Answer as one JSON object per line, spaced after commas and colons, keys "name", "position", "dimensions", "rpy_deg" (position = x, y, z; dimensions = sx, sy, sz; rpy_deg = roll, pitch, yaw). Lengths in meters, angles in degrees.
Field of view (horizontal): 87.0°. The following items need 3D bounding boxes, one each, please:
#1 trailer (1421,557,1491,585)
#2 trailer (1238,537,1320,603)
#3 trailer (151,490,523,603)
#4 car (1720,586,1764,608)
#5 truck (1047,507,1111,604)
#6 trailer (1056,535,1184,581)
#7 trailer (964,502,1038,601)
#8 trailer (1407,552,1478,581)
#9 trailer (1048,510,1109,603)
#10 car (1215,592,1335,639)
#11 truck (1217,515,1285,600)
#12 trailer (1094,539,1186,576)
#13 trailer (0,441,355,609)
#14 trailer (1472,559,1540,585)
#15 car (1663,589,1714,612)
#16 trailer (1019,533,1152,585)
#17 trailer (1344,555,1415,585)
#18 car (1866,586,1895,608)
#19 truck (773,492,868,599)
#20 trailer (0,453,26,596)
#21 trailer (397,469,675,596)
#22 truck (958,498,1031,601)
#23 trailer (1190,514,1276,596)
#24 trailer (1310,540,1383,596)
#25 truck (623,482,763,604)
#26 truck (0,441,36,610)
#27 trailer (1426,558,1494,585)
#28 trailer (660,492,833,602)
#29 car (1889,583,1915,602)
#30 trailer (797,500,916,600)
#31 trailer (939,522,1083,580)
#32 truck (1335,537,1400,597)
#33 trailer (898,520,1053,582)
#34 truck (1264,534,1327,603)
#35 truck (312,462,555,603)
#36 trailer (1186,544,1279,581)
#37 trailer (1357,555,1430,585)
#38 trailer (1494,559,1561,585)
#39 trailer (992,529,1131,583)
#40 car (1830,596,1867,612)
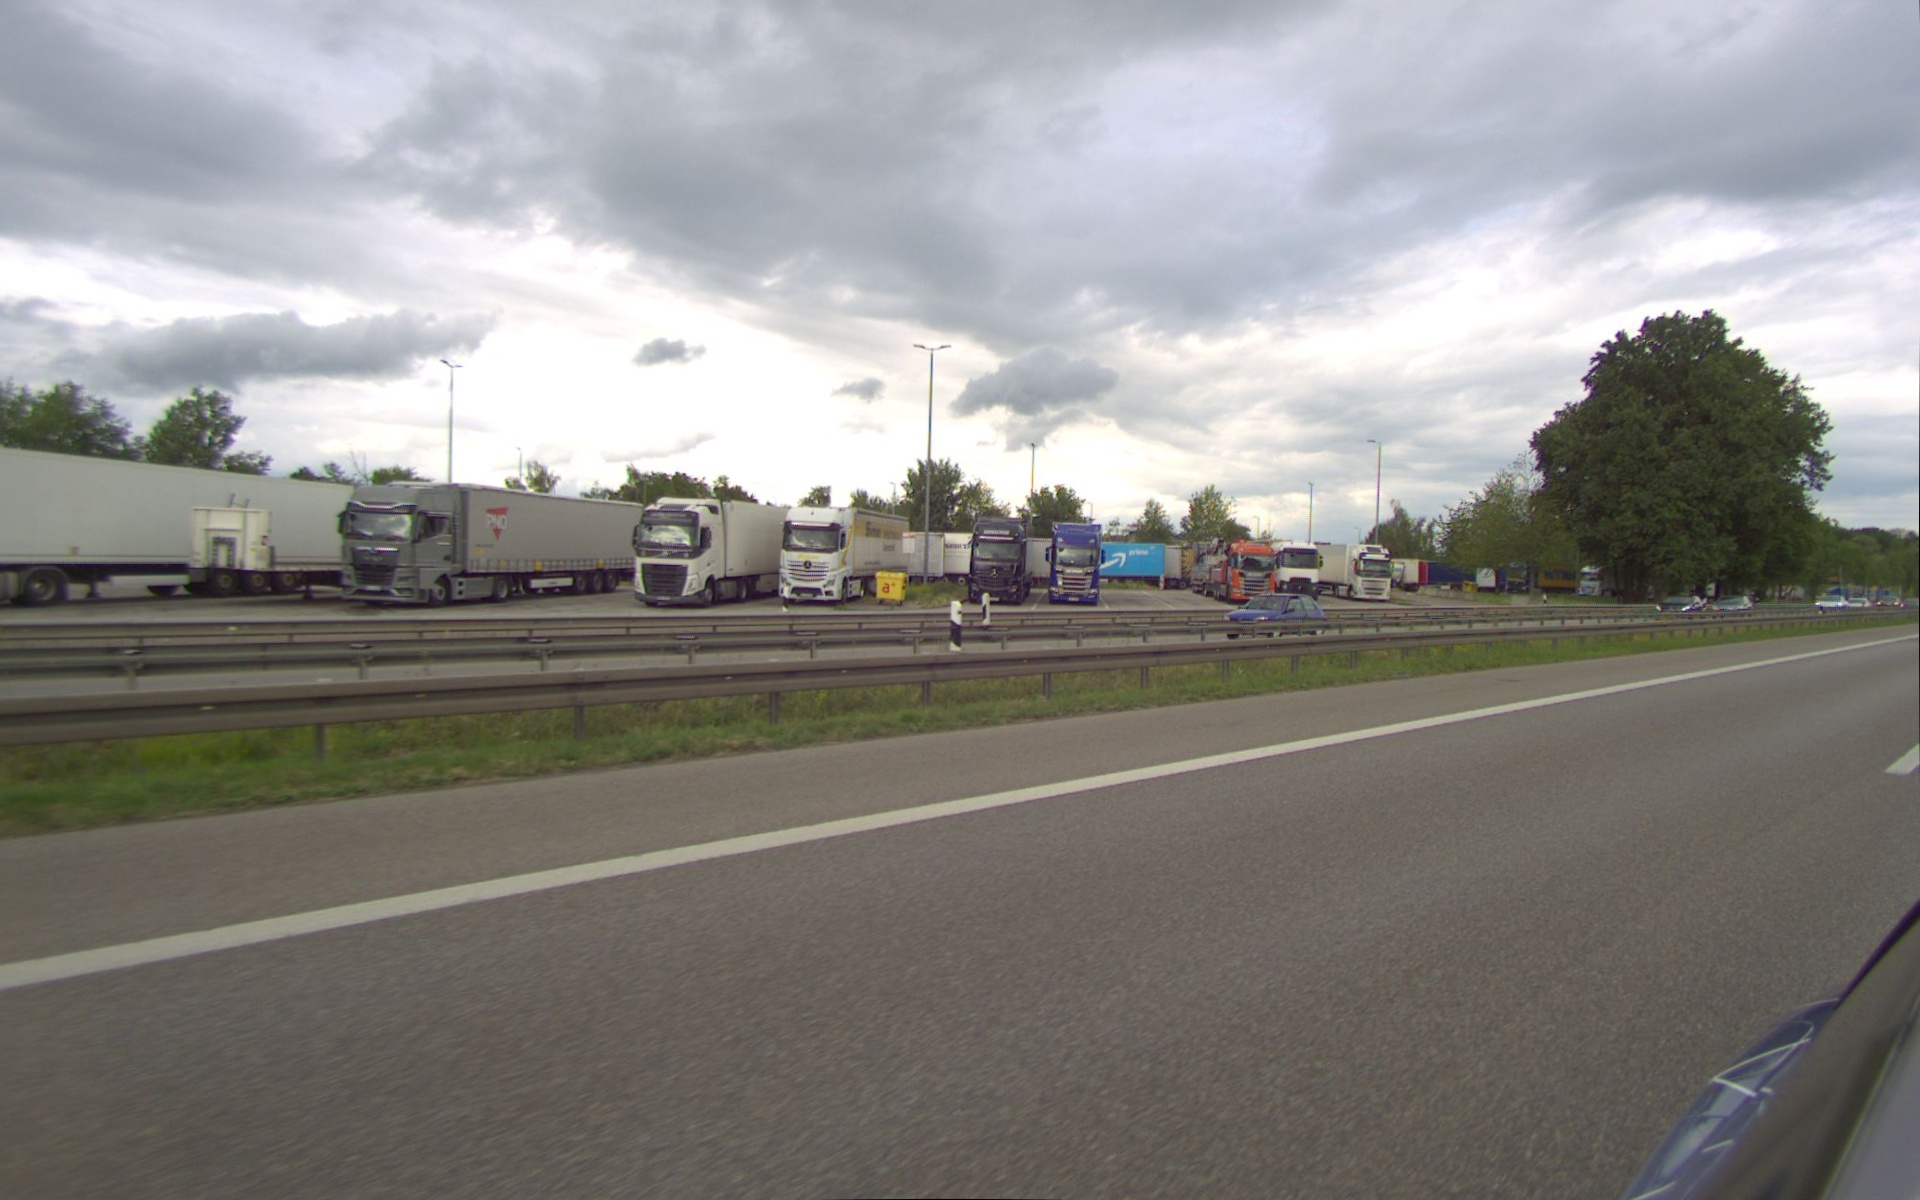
{"name": "trailer", "position": [63.928, -3.693, 130.559], "dimensions": [7.452, 3.502, 2.919], "rpy_deg": [0, 0, 4]}
{"name": "trailer", "position": [22.016, -1.974, 70.799], "dimensions": [2.617, 4.165, 14.047], "rpy_deg": [0, 1, 6]}
{"name": "trailer", "position": [-20.652, -1.575, 35.512], "dimensions": [3.533, 3.150, 13.726], "rpy_deg": [0, 1, 6]}
{"name": "car", "position": [49.195, -0.196, 63.610], "dimensions": [3.930, 1.322, 1.412], "rpy_deg": [0, 2, -41]}
{"name": "truck", "position": [5.956, -2.145, 51.278], "dimensions": [3.007, 4.614, 6.077], "rpy_deg": [0, 0, 6]}
{"name": "trailer", "position": [13.766, -3.618, 87.835], "dimensions": [10.599, 3.871, 2.921], "rpy_deg": [0, 0, 2]}
{"name": "trailer", "position": [2.408, -2.353, 54.290], "dimensions": [3.109, 4.649, 12.390], "rpy_deg": [0, 0, 6]}
{"name": "trailer", "position": [60.506, -4.154, 127.081], "dimensions": [7.452, 3.502, 2.919], "rpy_deg": [0, 0, 4]}
{"name": "trailer", "position": [6.544, -2.223, 57.208], "dimensions": [3.010, 4.637, 13.637], "rpy_deg": [0, 0, 6]}
{"name": "car", "position": [9.212, 0.420, 29.469], "dimensions": [3.484, 1.274, 1.795], "rpy_deg": [-1, 1, -41]}
{"name": "truck", "position": [16.930, -2.398, 59.182], "dimensions": [2.827, 4.682, 5.165], "rpy_deg": [0, 0, 5]}
{"name": "trailer", "position": [16.244, -3.811, 91.558], "dimensions": [7.891, 3.286, 2.919], "rpy_deg": [0, 0, 5]}
{"name": "trailer", "position": [-24.528, -1.900, 30.631], "dimensions": [2.611, 4.136, 14.678], "rpy_deg": [0, 1, 5]}
{"name": "trailer", "position": [73.764, -3.793, 136.872], "dimensions": [7.452, 3.502, 2.919], "rpy_deg": [0, 0, 4]}
{"name": "car", "position": [41.558, 0.009, 57.720], "dimensions": [3.930, 1.230, 1.465], "rpy_deg": [0, 2, -41]}
{"name": "trailer", "position": [10.268, -3.362, 83.483], "dimensions": [10.599, 4.173, 2.921], "rpy_deg": [0, 0, 2]}
{"name": "trailer", "position": [49.984, -3.542, 120.689], "dimensions": [7.260, 3.502, 2.919], "rpy_deg": [0, 0, 4]}
{"name": "car", "position": [86.426, -0.304, 94.998], "dimensions": [3.930, 2.039, 1.605], "rpy_deg": [-1, 0, -41]}
{"name": "truck", "position": [-5.640, -2.129, 41.678], "dimensions": [2.651, 4.106, 4.787], "rpy_deg": [0, 0, 8]}
{"name": "trailer", "position": [-31.792, -2.289, 25.496], "dimensions": [2.434, 4.451, 14.122], "rpy_deg": [0, 0, 5]}
{"name": "trailer", "position": [-16.284, -2.317, 41.308], "dimensions": [3.469, 4.186, 15.554], "rpy_deg": [0, 1, 6]}
{"name": "truck", "position": [1.755, -2.278, 48.432], "dimensions": [3.113, 4.614, 6.077], "rpy_deg": [0, 0, 6]}
{"name": "trailer", "position": [17.652, -2.680, 66.680], "dimensions": [2.814, 4.737, 15.787], "rpy_deg": [0, 1, 6]}
{"name": "trailer", "position": [30.192, -2.380, 79.648], "dimensions": [2.768, 4.105, 10.941], "rpy_deg": [0, 0, 7]}
{"name": "truck", "position": [-9.932, -2.000, 38.515], "dimensions": [2.836, 4.186, 6.959], "rpy_deg": [0, 0, 7]}
{"name": "truck", "position": [-25.106, -1.824, 23.621], "dimensions": [2.594, 4.183, 4.790], "rpy_deg": [0, 0, 5]}
{"name": "trailer", "position": [66.086, -3.733, 133.817], "dimensions": [7.452, 3.502, 2.919], "rpy_deg": [0, 0, 4]}
{"name": "trailer", "position": [-9.059, -2.076, 46.101], "dimensions": [2.806, 4.156, 15.861], "rpy_deg": [0, 1, 7]}
{"name": "car", "position": [103.080, -0.859, 110.727], "dimensions": [4.268, 2.039, 1.703], "rpy_deg": [-1, 0, -41]}
{"name": "trailer", "position": [-4.629, -2.129, 49.050], "dimensions": [2.607, 4.145, 13.771], "rpy_deg": [0, 1, 8]}
{"name": "trailer", "position": [3.758, -3.613, 75.814], "dimensions": [10.599, 4.173, 2.921], "rpy_deg": [0, 0, 2]}
{"name": "truck", "position": [29.424, -2.312, 73.339], "dimensions": [2.778, 4.111, 6.437], "rpy_deg": [0, 0, 7]}
{"name": "trailer", "position": [1.090, -3.398, 71.025], "dimensions": [10.599, 4.173, 2.921], "rpy_deg": [0, 0, 2]}
{"name": "truck", "position": [21.412, -1.925, 64.837], "dimensions": [2.623, 4.201, 5.920], "rpy_deg": [0, 0, 6]}
{"name": "truck", "position": [-17.145, -2.016, 33.759], "dimensions": [3.487, 4.136, 7.640], "rpy_deg": [0, 0, 7]}
{"name": "trailer", "position": [25.321, -3.492, 94.426], "dimensions": [7.891, 3.286, 2.919], "rpy_deg": [0, 0, 5]}
{"name": "trailer", "position": [53.157, -3.632, 124.192], "dimensions": [7.610, 3.519, 2.919], "rpy_deg": [0, 0, 4]}
{"name": "trailer", "position": [78.617, -3.845, 140.275], "dimensions": [7.452, 3.502, 2.919], "rpy_deg": [0, 0, 4]}
{"name": "trailer", "position": [7.878, -3.420, 79.704], "dimensions": [10.599, 4.173, 2.921], "rpy_deg": [0, 0, 2]}
{"name": "car", "position": [76.110, 0.295, 86.701], "dimensions": [3.810, 1.258, 1.827], "rpy_deg": [0, 2, -41]}
